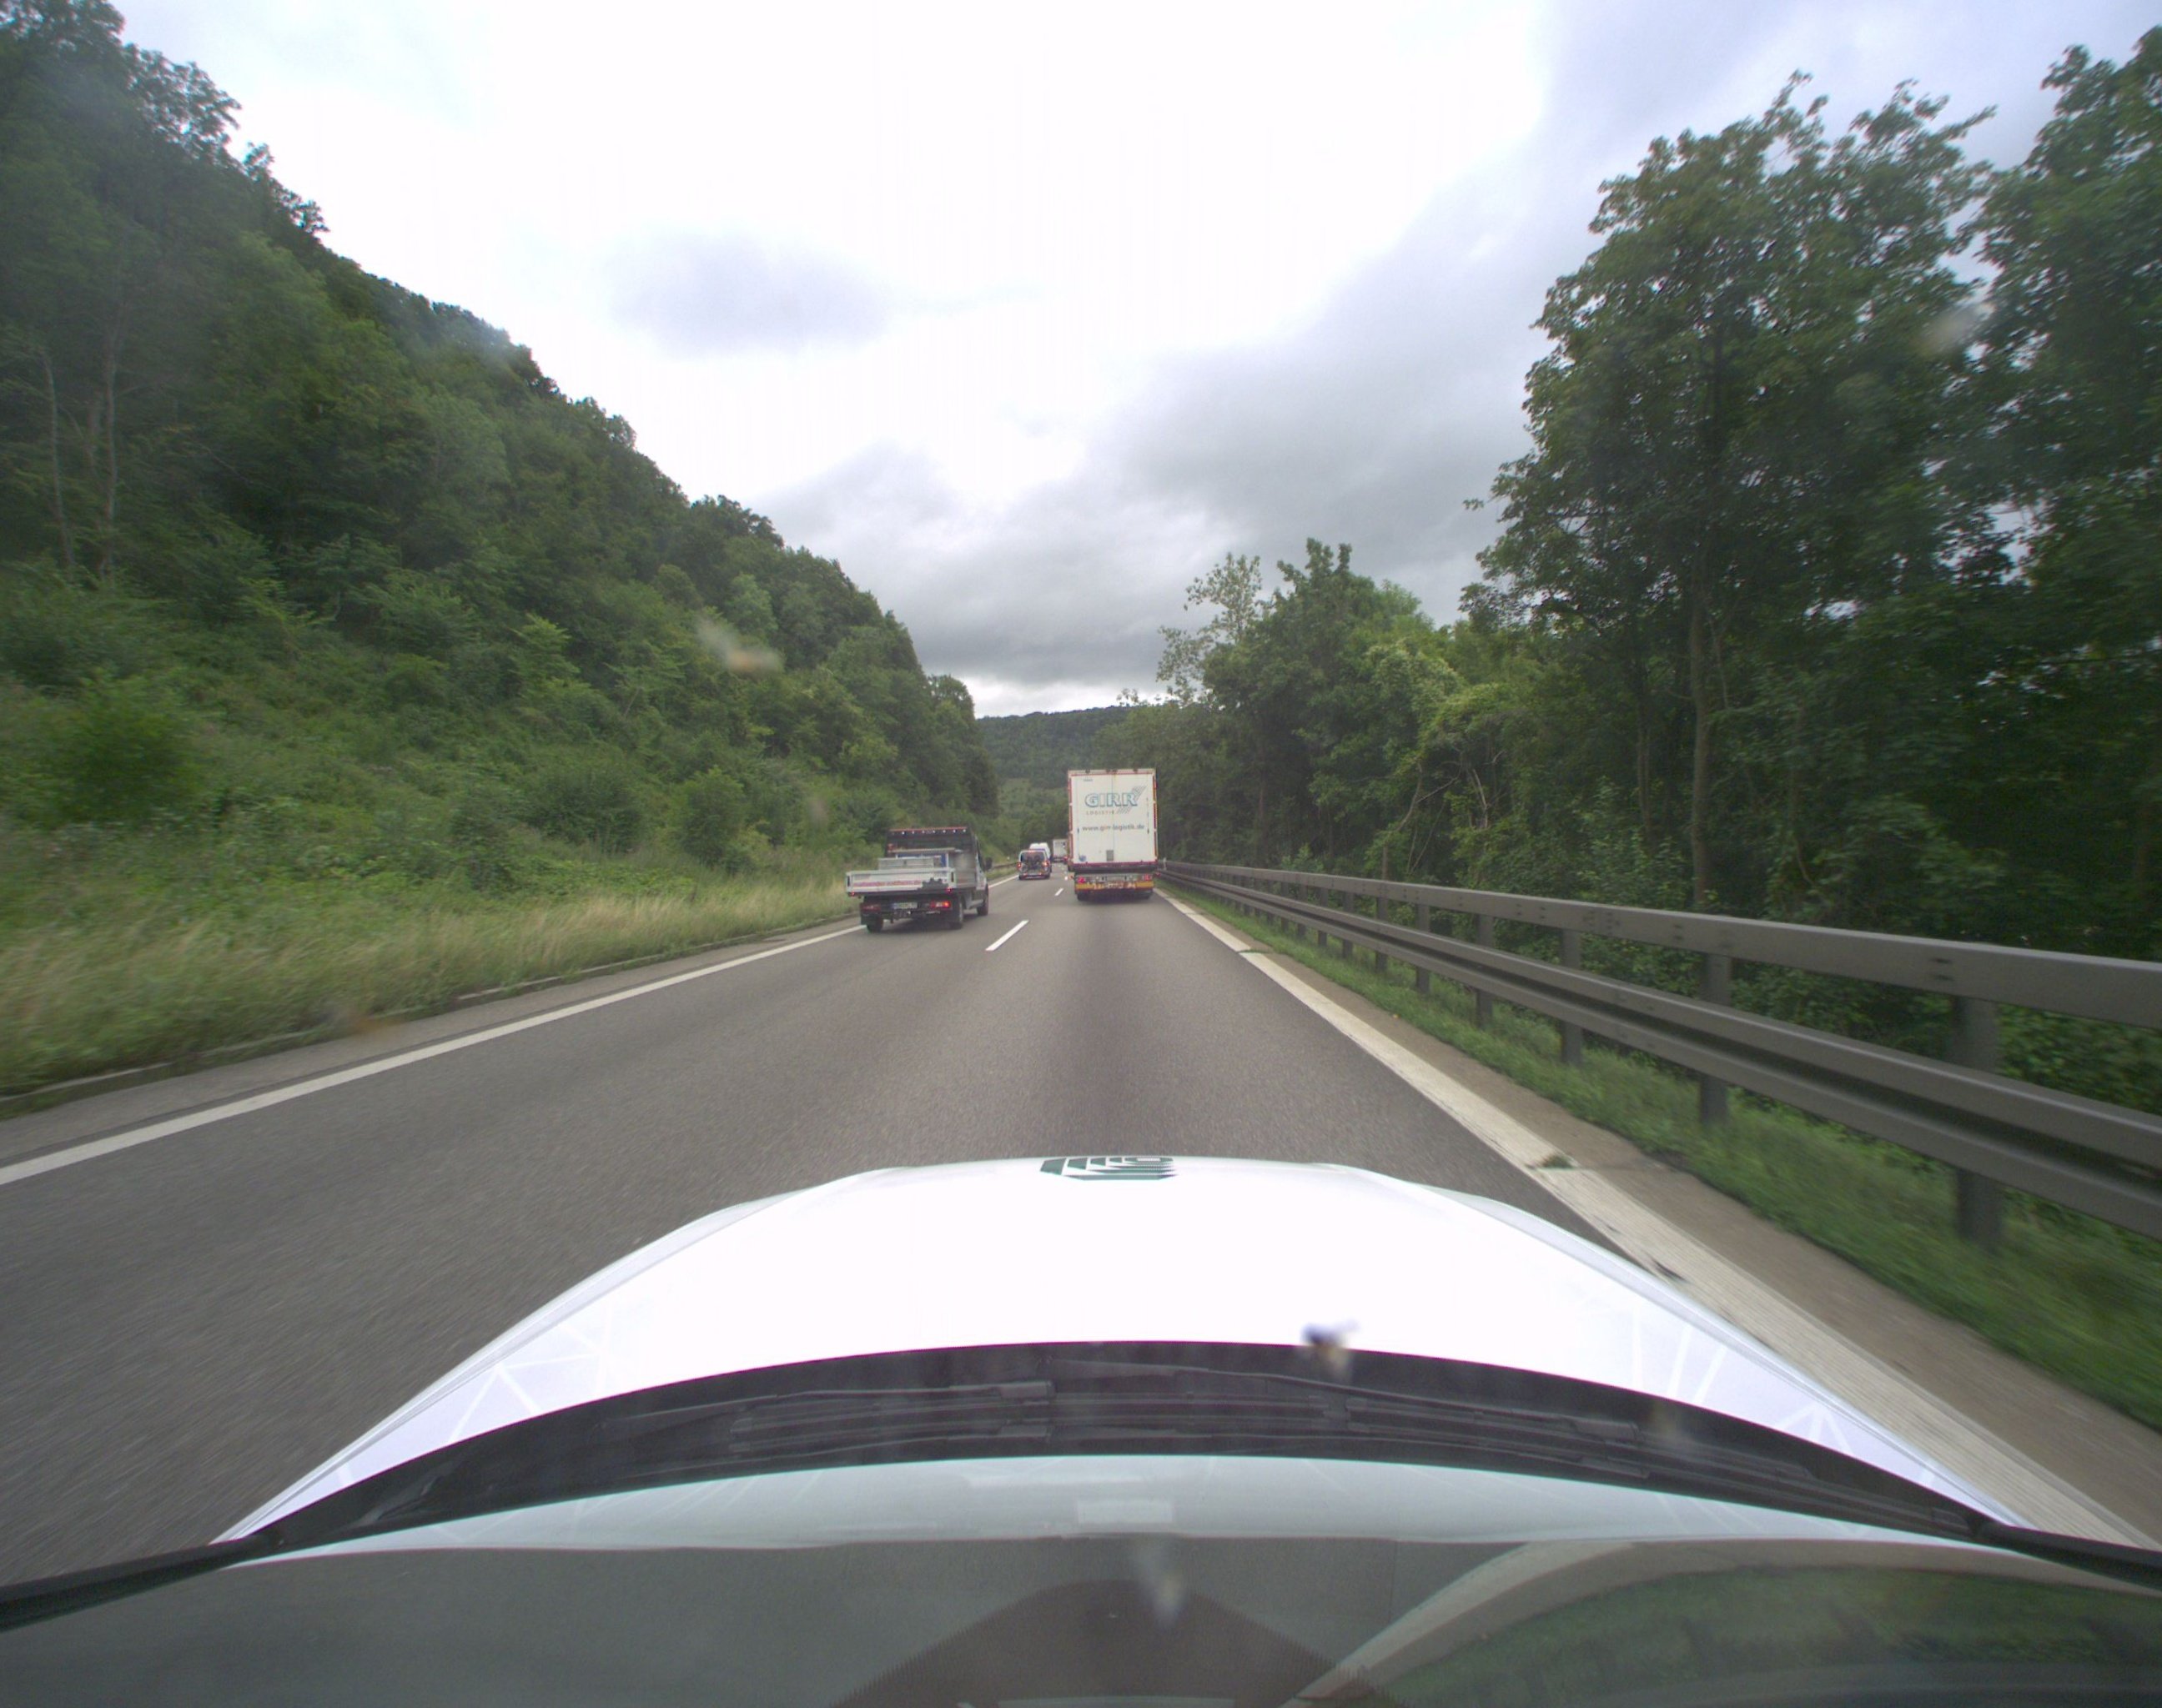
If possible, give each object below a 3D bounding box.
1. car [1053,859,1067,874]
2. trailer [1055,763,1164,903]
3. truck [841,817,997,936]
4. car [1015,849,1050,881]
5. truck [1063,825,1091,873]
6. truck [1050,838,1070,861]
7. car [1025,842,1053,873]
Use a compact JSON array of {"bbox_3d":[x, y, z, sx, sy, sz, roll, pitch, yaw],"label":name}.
[{"bbox_3d":[-3.058,1.795,118.003,1.989,2.014,3.995,-1,-1,-3],"label":"car"},{"bbox_3d":[0.971,-0.601,28.286,3.121,4.043,9.443,0,0,2],"label":"trailer"},{"bbox_3d":[-3.502,0.443,19.273,2.342,2.274,6.847,-1,0,0],"label":"truck"},{"bbox_3d":[-3.048,0.646,52.300,2.013,1.914,5.559,-1,0,-2],"label":"car"},{"bbox_3d":[-0.301,-0.378,69.720,2.226,3.804,6.823,-1,-1,1],"label":"truck"},{"bbox_3d":[-3.590,-0.724,139.046,3.062,3.877,8.448,-1,-1,-3],"label":"truck"},{"bbox_3d":[-3.647,0.296,71.958,2.117,2.598,5.561,-2,0,0],"label":"car"}]
